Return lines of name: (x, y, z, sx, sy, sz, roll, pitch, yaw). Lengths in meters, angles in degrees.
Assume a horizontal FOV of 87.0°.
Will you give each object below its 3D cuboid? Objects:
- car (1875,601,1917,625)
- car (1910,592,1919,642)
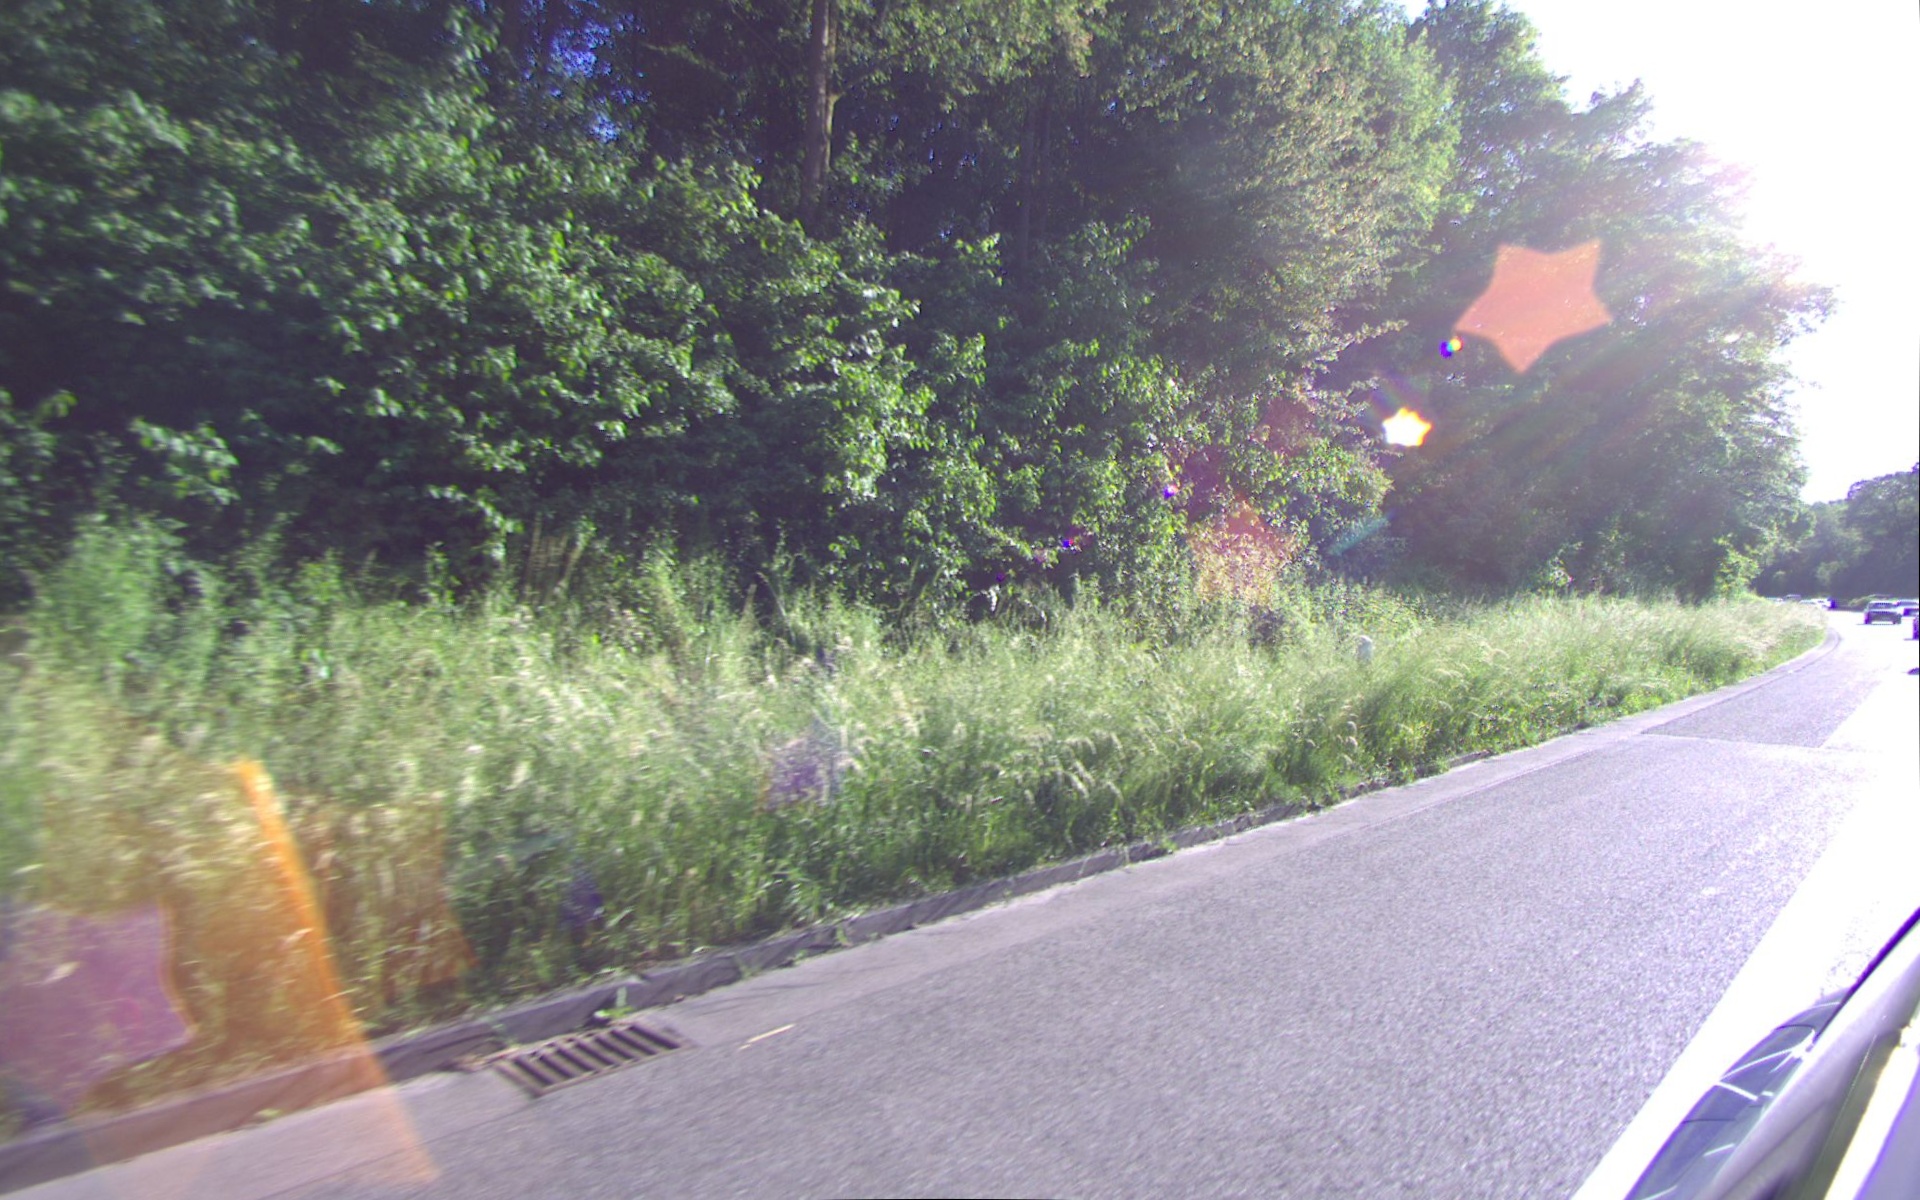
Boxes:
car: (64.085, 0.854, 69.334, 1.927, 1.527, 5.011, 1, 1, 41)
car: (42.414, 0.690, 43.461, 2.250, 1.876, 5.065, -1, 2, 43)
